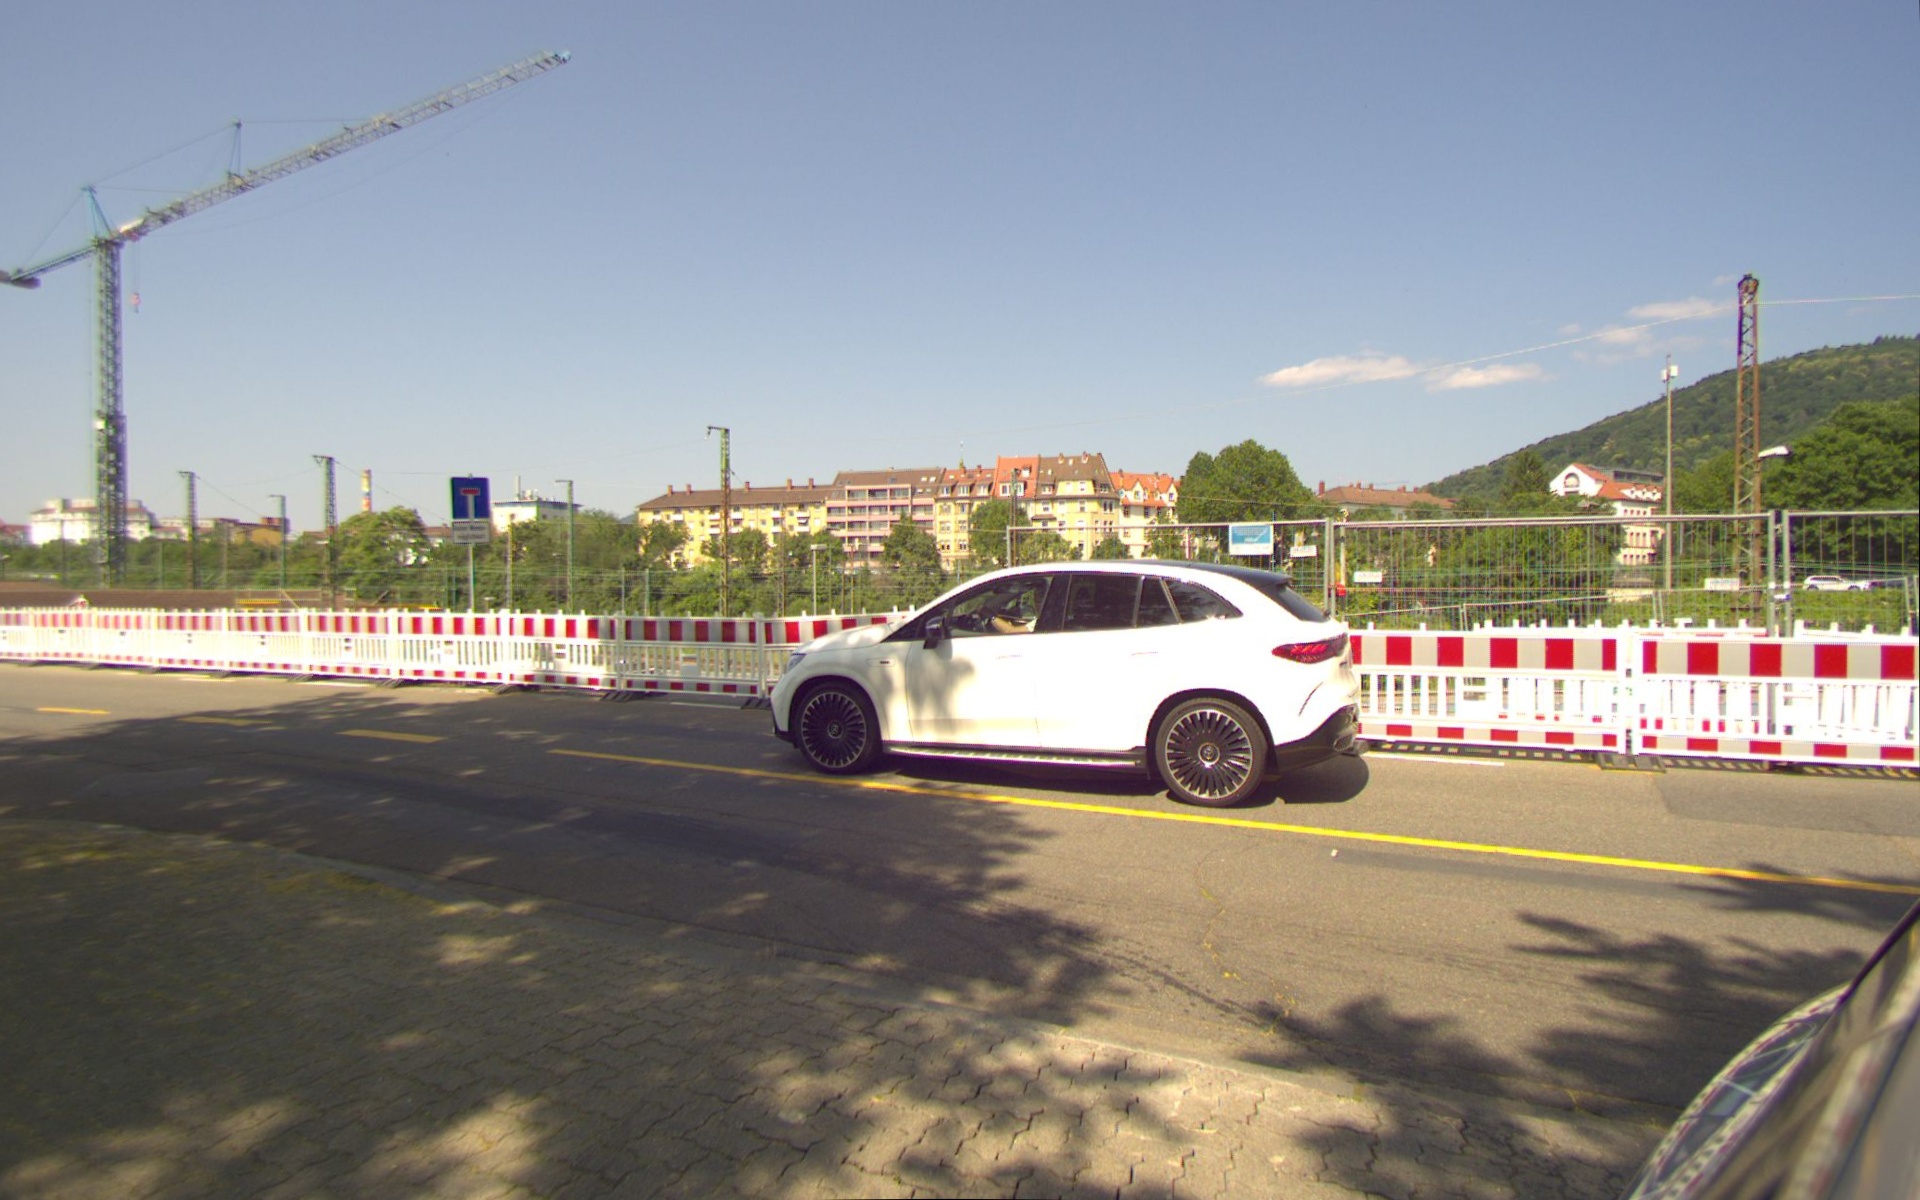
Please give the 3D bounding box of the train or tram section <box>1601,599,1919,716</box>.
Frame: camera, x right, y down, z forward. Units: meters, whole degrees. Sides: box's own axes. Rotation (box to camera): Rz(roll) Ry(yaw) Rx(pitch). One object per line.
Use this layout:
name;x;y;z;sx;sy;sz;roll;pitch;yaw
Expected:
train or tram section;28.334;1.928;36.127;8.922;3.762;2.982;-1;-2;38

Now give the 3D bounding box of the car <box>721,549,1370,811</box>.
car;0.675;0.475;8.348;4.976;1.665;1.985;0;2;24

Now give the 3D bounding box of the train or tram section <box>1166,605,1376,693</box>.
train or tram section;14.317;2.168;47.174;8.922;3.752;2.982;-1;-2;38

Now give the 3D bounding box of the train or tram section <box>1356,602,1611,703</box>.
train or tram section;21.342;2.049;41.641;8.922;3.760;2.982;-1;-2;38
